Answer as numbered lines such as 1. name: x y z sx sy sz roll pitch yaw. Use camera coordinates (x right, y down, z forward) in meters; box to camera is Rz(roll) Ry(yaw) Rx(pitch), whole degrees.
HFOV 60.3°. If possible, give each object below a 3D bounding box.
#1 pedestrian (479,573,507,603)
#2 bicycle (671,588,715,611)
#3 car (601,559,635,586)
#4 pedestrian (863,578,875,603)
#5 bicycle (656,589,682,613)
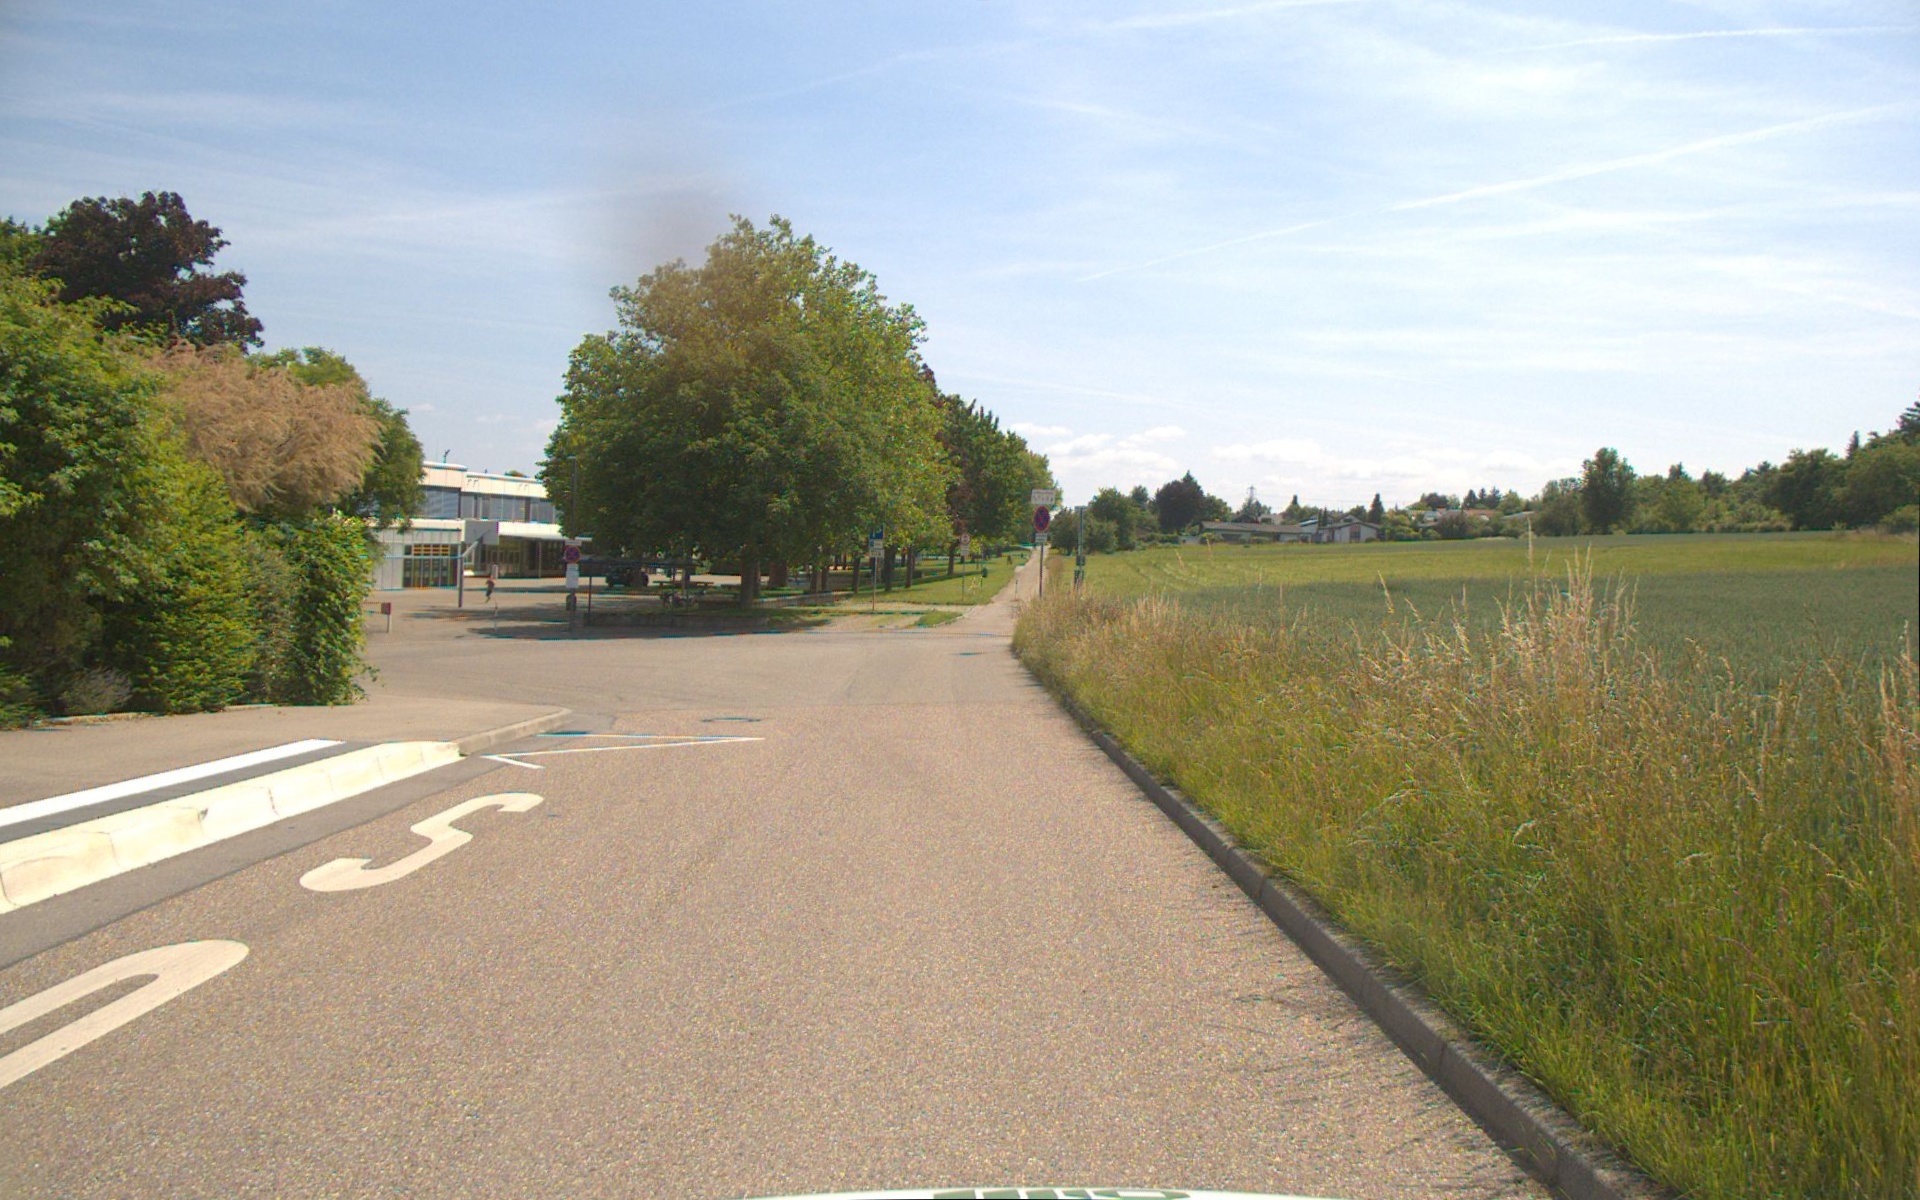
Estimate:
1. pedestrian: -23.232 -0.608 82.263 0.897 1.448 1.070 1 1 17
2. bicycle: -12.632 -0.030 78.231 2.022 1.057 0.571 0 1 -6
3. car: -23.836 -1.929 115.328 1.656 1.866 3.411 0 1 0
4. pedestrian: -7.445 -0.796 135.313 0.675 2.049 0.795 1 1 -30
5. bicycle: -13.403 0.057 76.208 0.582 1.057 1.895 0 1 10
